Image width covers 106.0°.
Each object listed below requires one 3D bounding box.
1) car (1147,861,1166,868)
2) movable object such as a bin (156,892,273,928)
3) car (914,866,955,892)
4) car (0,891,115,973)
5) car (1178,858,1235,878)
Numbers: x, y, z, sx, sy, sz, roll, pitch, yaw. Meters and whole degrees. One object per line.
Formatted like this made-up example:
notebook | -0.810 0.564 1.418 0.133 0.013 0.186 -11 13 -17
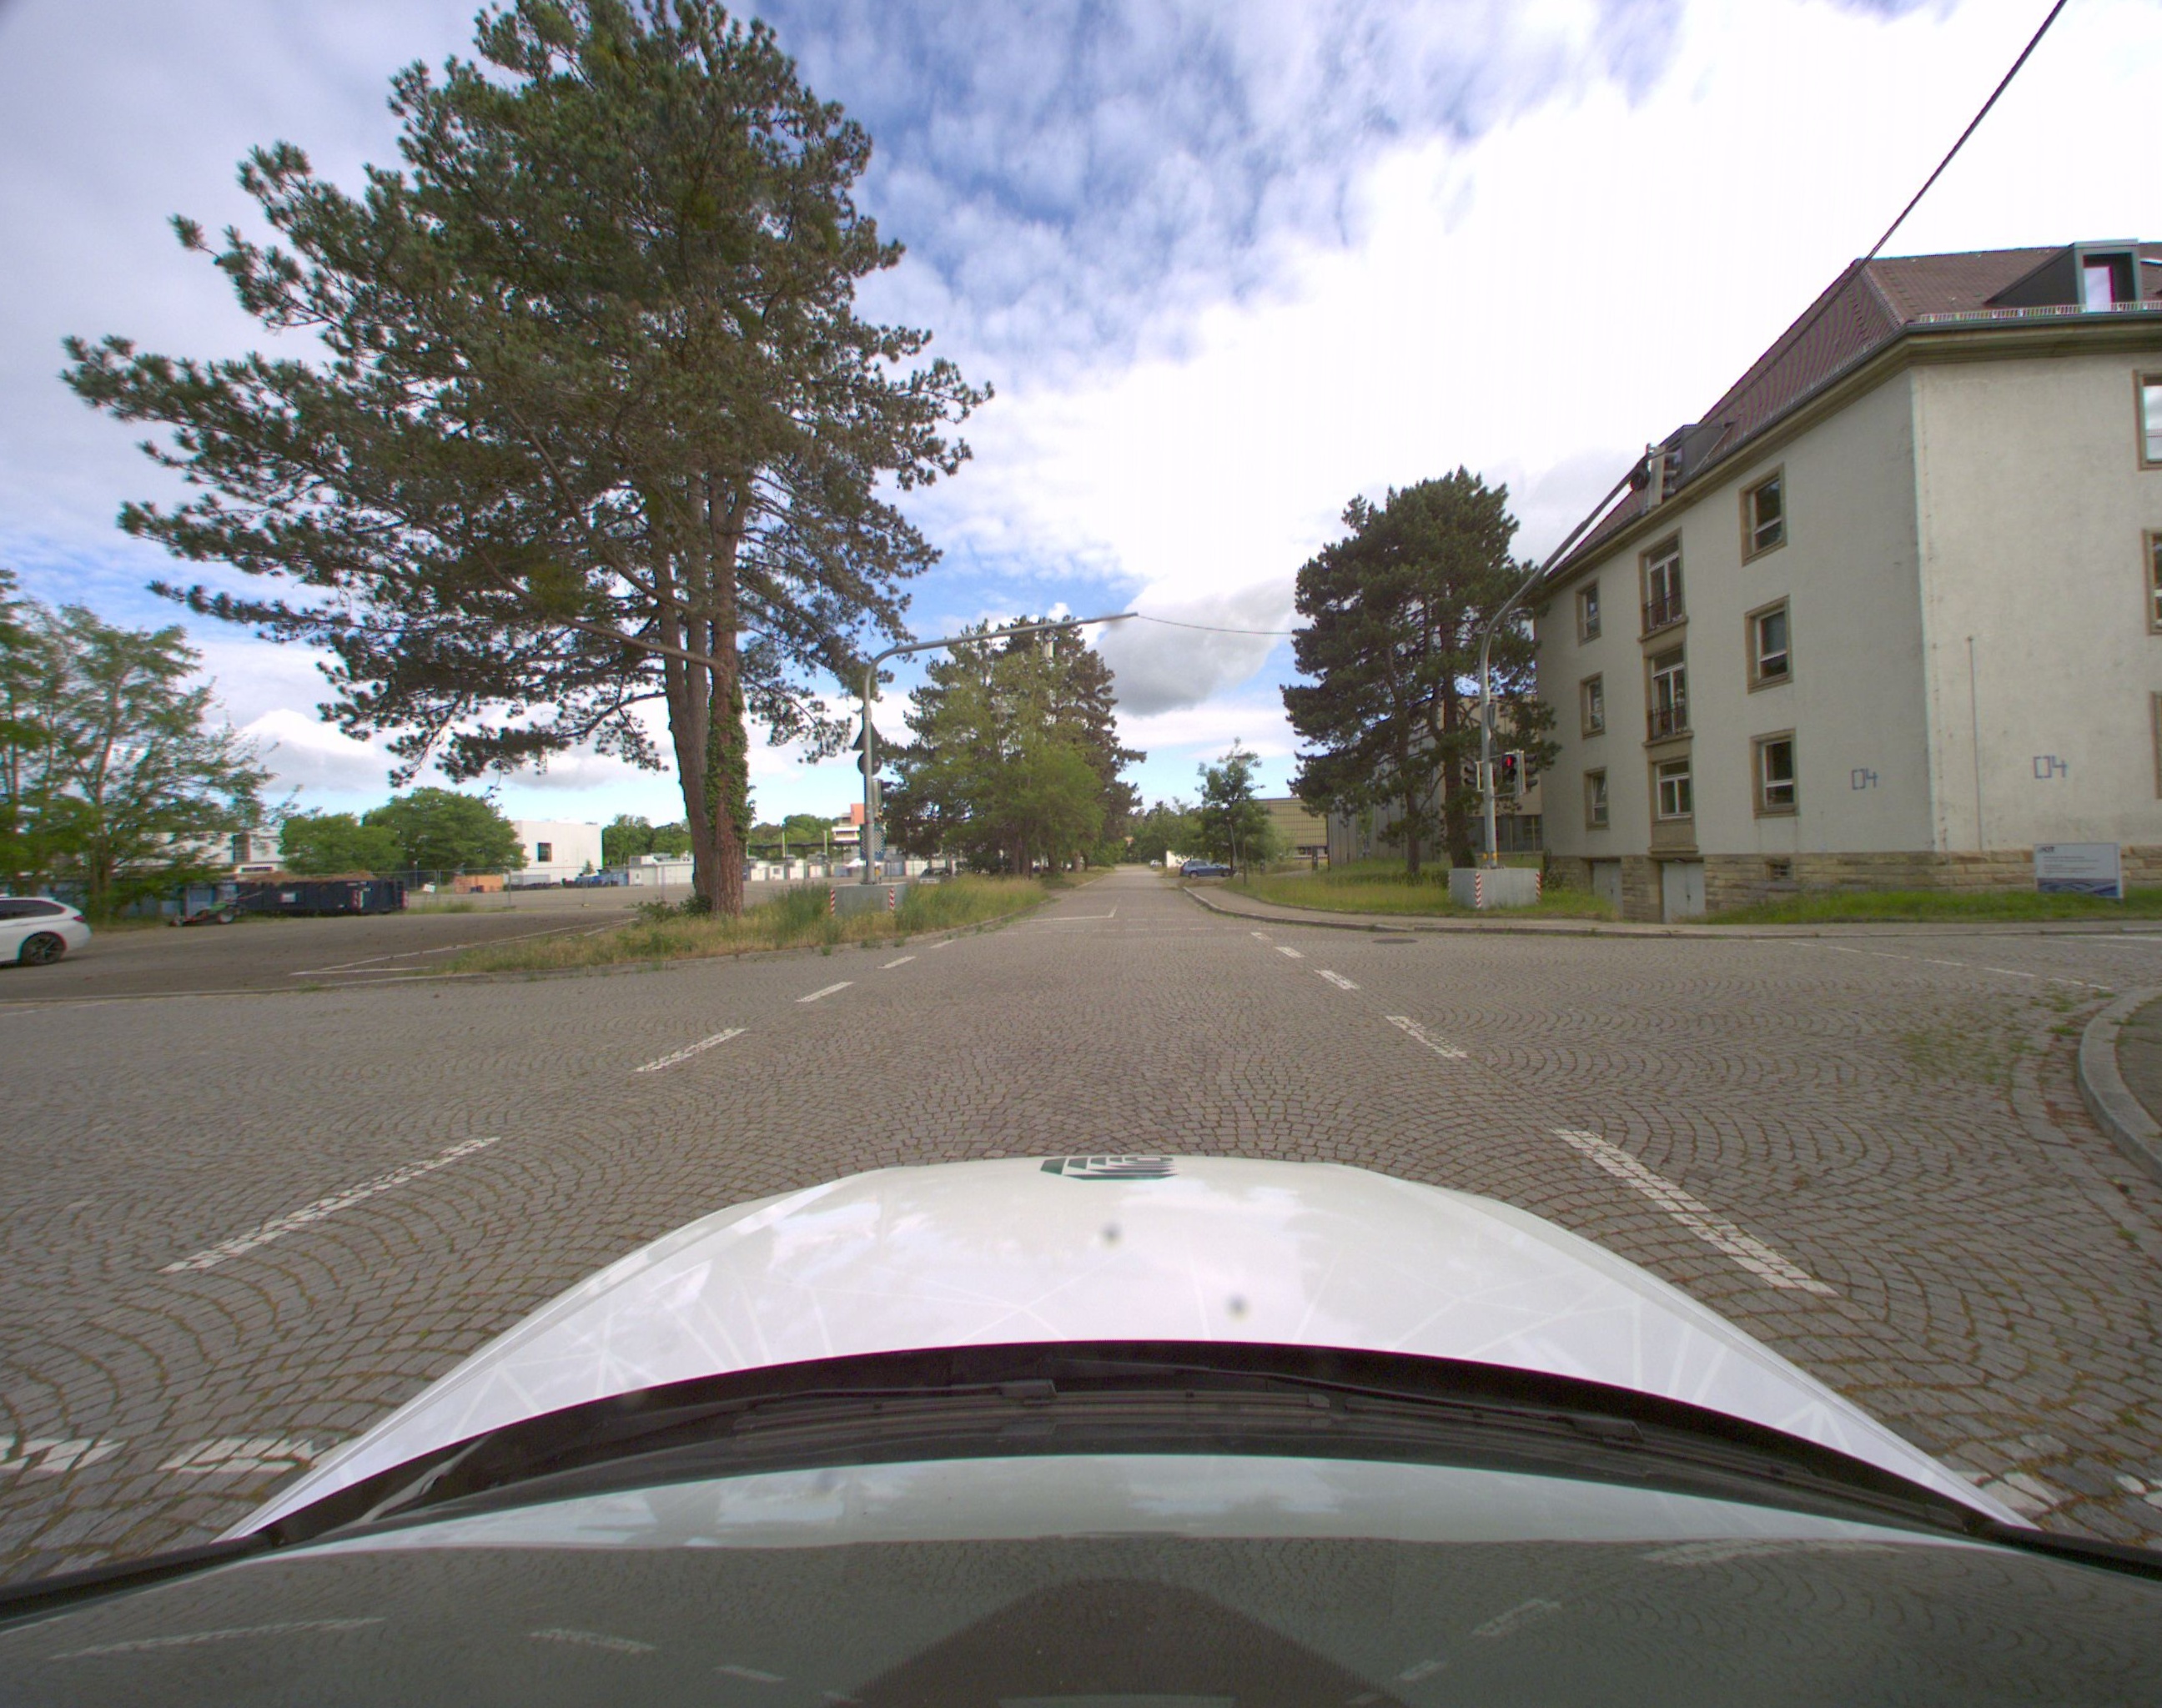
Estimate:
car | 16.977 2.320 182.791 3.977 1.398 1.998 -2 -1 -2
movable object such as a bin | -29.898 1.898 28.191 1.174 1.048 2.657 -2 -1 -1
car | -9.337 1.562 52.026 1.606 1.487 4.004 -2 -1 4
car | -21.851 1.621 15.217 1.803 1.441 4.742 -2 1 1
car | 10.079 1.145 65.841 4.328 1.422 2.001 -2 -1 1
